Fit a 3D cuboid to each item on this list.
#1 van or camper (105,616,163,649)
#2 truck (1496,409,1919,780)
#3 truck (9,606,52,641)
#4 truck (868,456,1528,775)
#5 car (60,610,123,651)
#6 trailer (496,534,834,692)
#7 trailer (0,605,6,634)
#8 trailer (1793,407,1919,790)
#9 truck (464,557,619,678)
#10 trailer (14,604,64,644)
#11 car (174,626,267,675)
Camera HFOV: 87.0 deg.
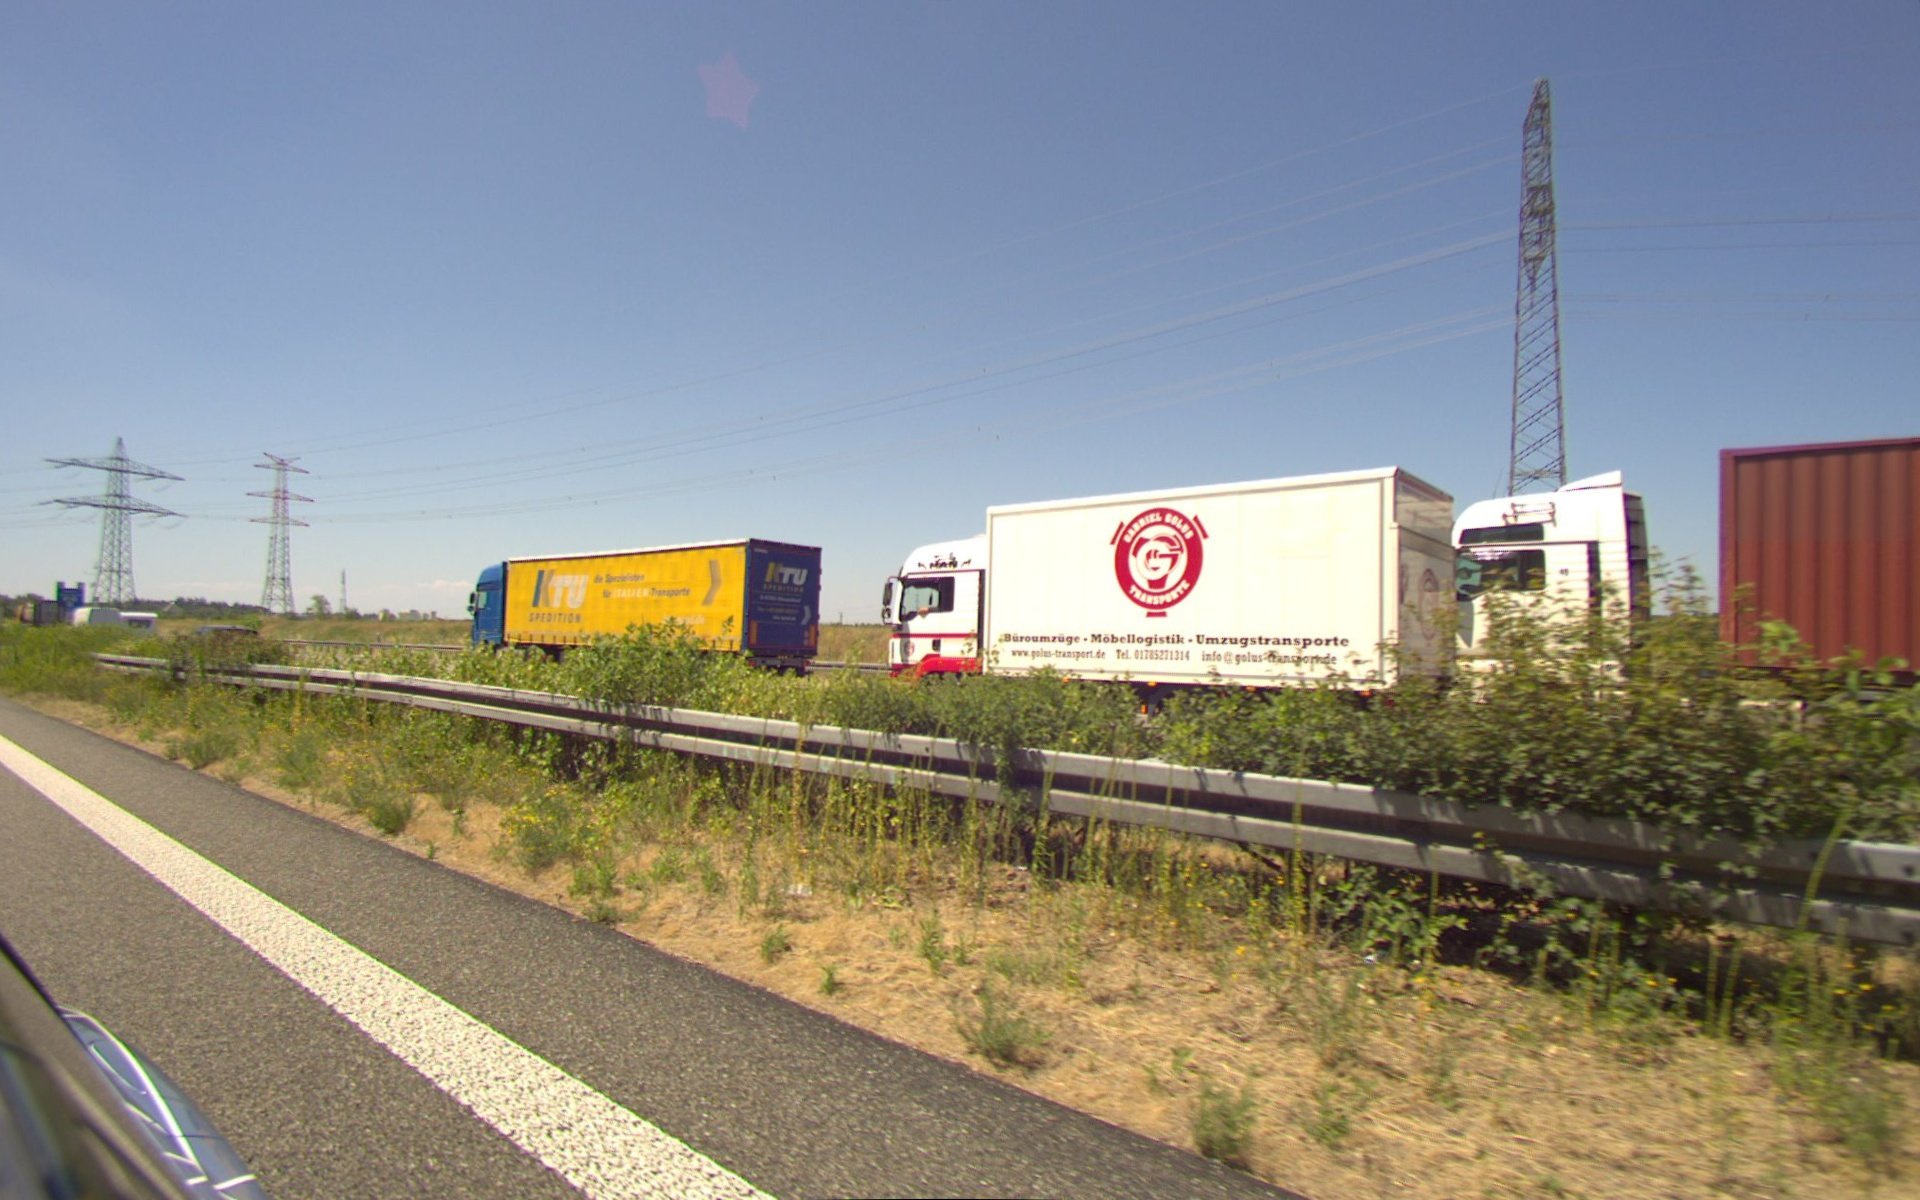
[{"bbox_3d":[-65.956,2.567,80.746,6.479,2.537,2.418,-1,-3,41],"label":"van or camper"},{"bbox_3d":[11.035,-0.018,13.380,6.434,4.190,3.180,-1,-2,40],"label":"truck"},{"bbox_3d":[-102.421,2.640,111.465,5.642,3.756,2.697,-1,-3,40],"label":"truck"},{"bbox_3d":[2.903,0.316,15.144,9.364,3.439,2.905,-1,-4,42],"label":"truck"},{"bbox_3d":[-58.995,2.063,68.681,7.463,2.651,2.083,-1,-4,41],"label":"car"},{"bbox_3d":[-9.742,0.488,31.460,14.134,4.008,2.820,-1,-3,41],"label":"trailer"},{"bbox_3d":[-134.998,2.738,140.382,14.235,3.858,2.740,-1,-1,42],"label":"trailer"},{"bbox_3d":[15.681,-0.088,9.316,12.265,4.339,3.160,-1,-1,41],"label":"trailer"},{"bbox_3d":[-14.920,0.665,35.957,5.617,3.937,2.833,-1,-3,41],"label":"truck"},{"bbox_3d":[-98.209,2.595,107.843,9.418,4.077,2.708,-1,-3,41],"label":"trailer"},{"bbox_3d":[-24.518,1.638,33.497,3.998,1.507,1.648,-1,-3,42],"label":"car"}]
